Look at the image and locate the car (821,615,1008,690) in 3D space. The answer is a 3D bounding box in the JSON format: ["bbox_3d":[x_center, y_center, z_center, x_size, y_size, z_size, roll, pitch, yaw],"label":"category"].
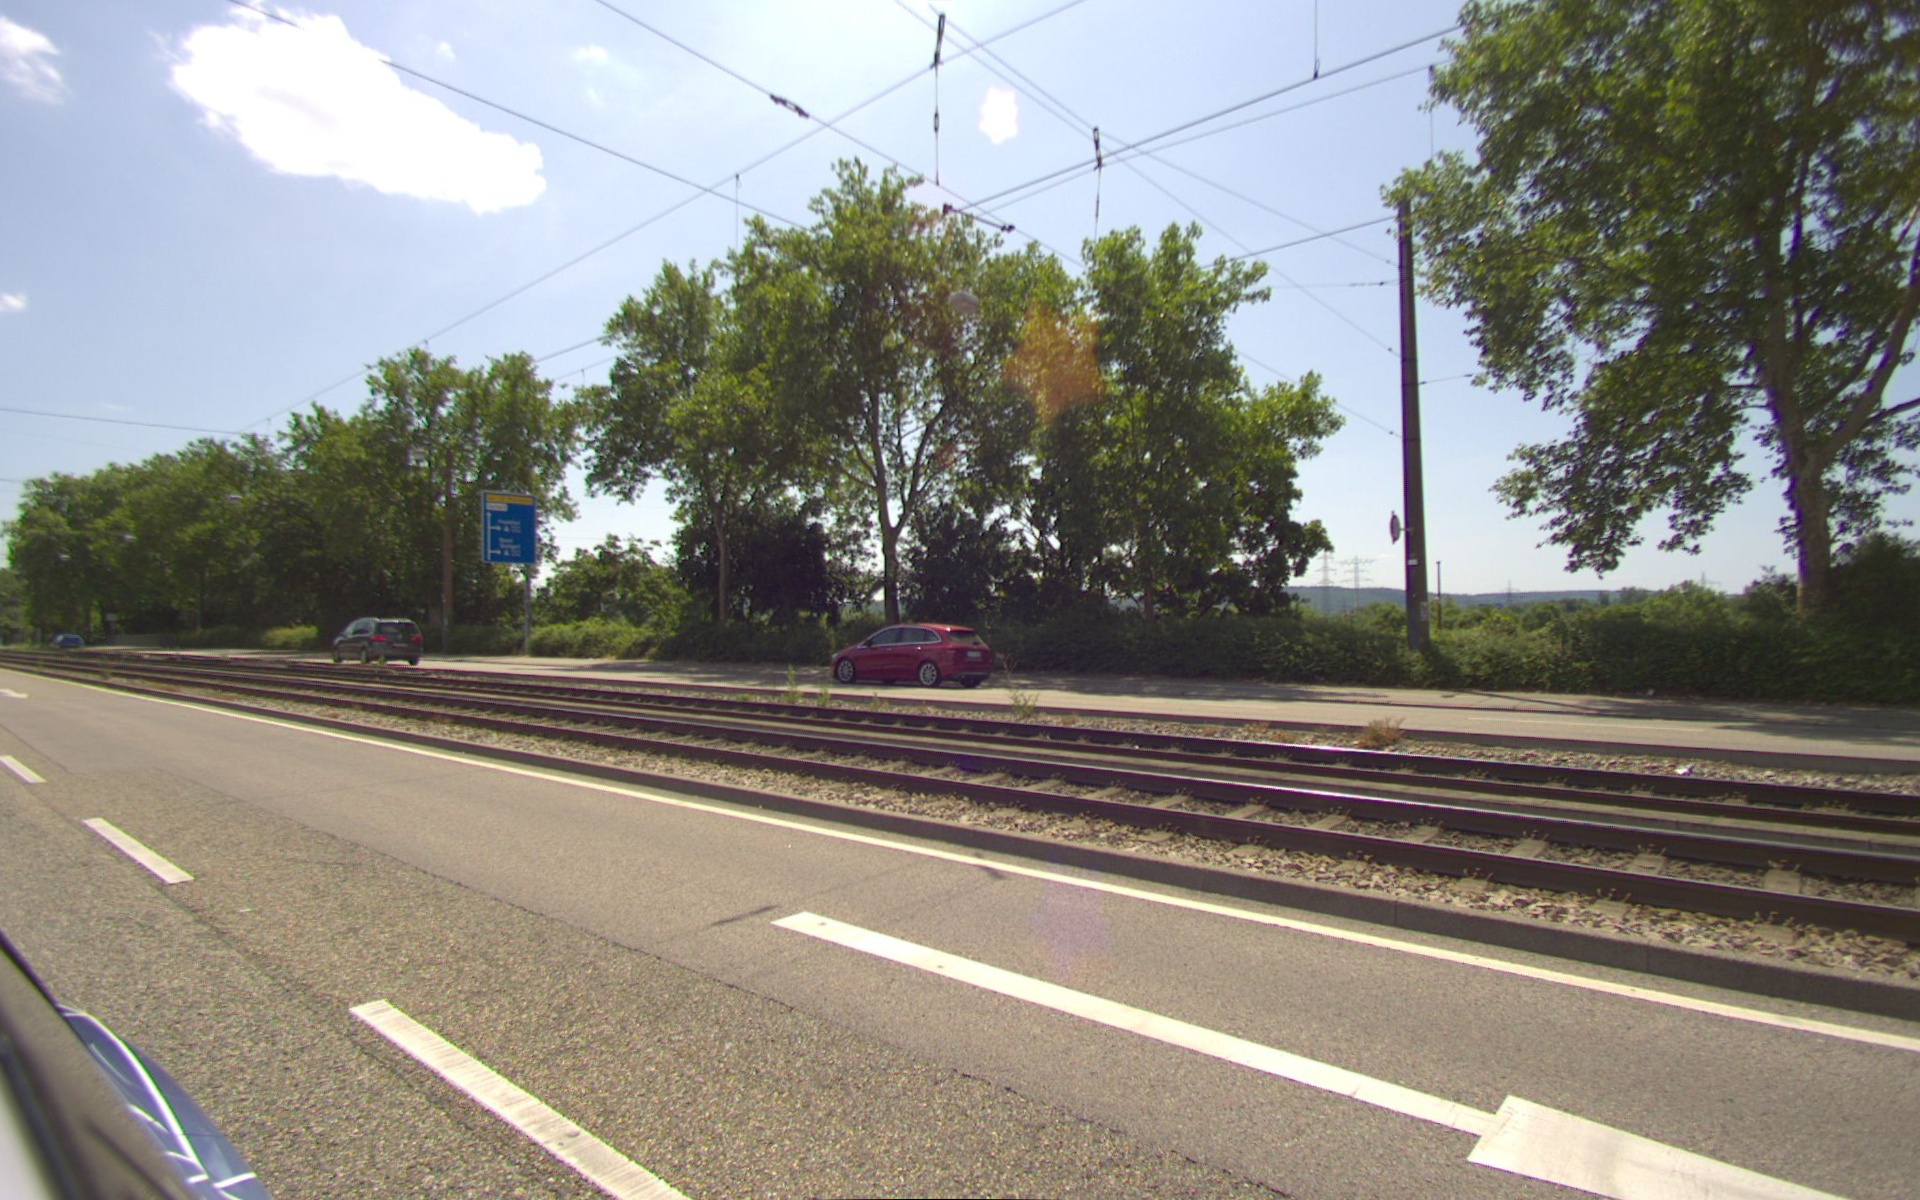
[{"bbox_3d":[-1.185,1.286,24.967,4.464,1.683,1.973,-2,-4,40],"label":"car"}]

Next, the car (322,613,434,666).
[{"bbox_3d":[-21.748,1.496,37.754,4.965,1.845,1.973,-2,-4,40],"label":"car"}]

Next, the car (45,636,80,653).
[{"bbox_3d":[-85.776,4.252,96.696,4.731,1.515,1.780,-2,-4,40],"label":"car"}]
